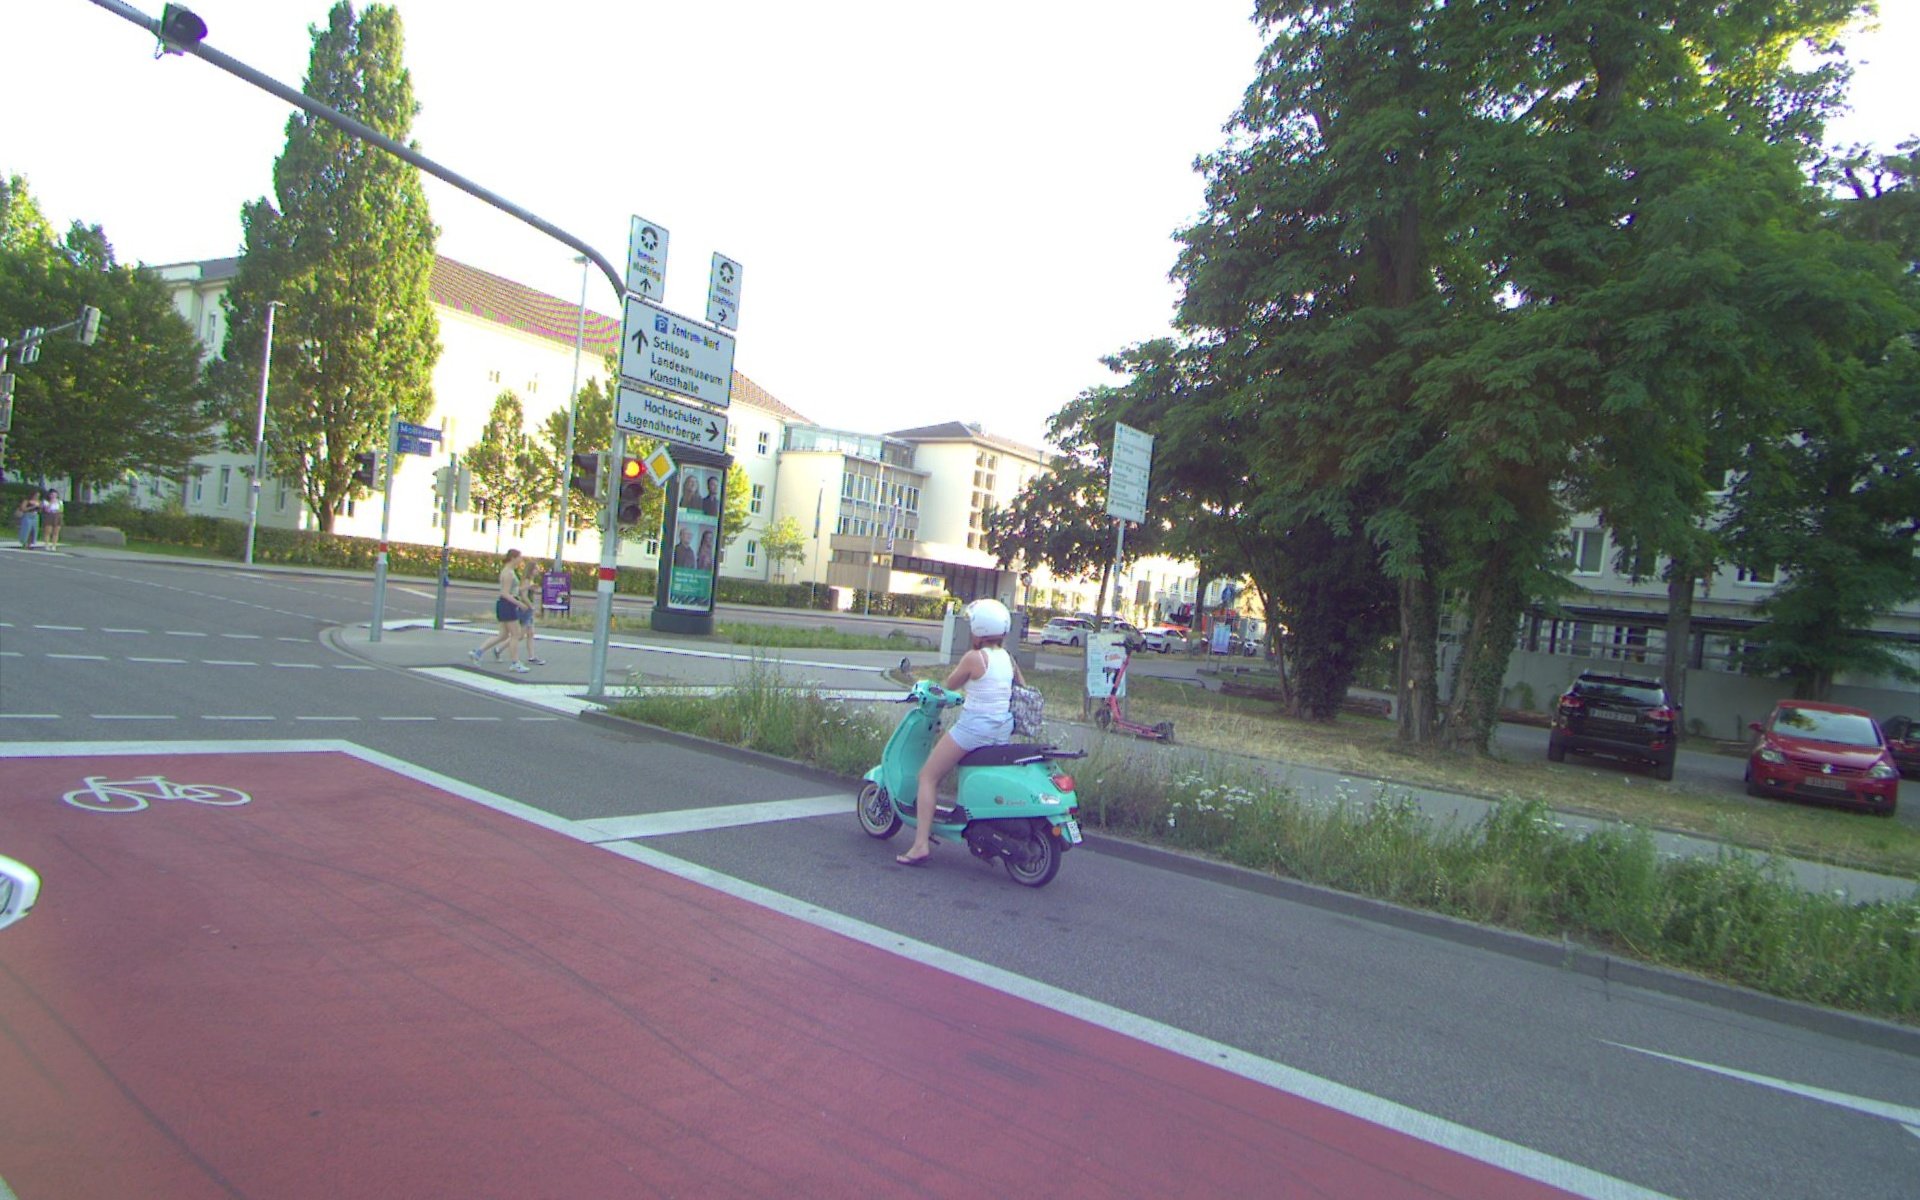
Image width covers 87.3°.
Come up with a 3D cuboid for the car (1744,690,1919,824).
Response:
[{"bbox_3d":[14.051,2.420,16.370,1.890,1.631,3.984,7,0,38],"label":"car"}]

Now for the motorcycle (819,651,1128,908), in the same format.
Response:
[{"bbox_3d":[0.032,1.066,6.490,1.866,1.212,0.681,7,0,40],"label":"motorcycle"}]

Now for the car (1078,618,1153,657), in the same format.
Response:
[{"bbox_3d":[7.958,1.920,51.240,1.970,1.632,3.985,7,0,37],"label":"car"}]

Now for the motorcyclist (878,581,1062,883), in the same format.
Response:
[{"bbox_3d":[0.068,0.814,6.487,0.680,1.758,0.737,7,1,40],"label":"motorcyclist"}]

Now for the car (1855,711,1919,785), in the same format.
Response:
[{"bbox_3d":[22.996,3.582,24.037,1.742,1.477,3.618,7,0,33],"label":"car"}]

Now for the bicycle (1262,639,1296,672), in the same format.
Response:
[{"bbox_3d":[13.517,2.343,42.638,0.563,1.256,1.891,7,0,40],"label":"bicycle"}]

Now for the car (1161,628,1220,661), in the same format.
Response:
[{"bbox_3d":[13.770,2.657,59.925,1.969,1.660,3.987,7,0,35],"label":"car"}]

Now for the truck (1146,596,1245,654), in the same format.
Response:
[{"bbox_3d":[15.923,1.773,67.361,2.599,3.179,10.243,6,0,35],"label":"truck"}]

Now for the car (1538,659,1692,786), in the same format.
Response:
[{"bbox_3d":[11.769,2.090,17.947,1.890,1.762,4.223,7,0,37],"label":"car"}]

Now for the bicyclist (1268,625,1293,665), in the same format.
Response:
[{"bbox_3d":[13.572,1.895,42.602,0.563,1.609,0.904,7,1,40],"label":"bicyclist"}]

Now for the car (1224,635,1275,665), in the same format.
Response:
[{"bbox_3d":[19.654,3.402,68.200,1.969,1.660,3.987,7,0,35],"label":"car"}]

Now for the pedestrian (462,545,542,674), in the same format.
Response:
[{"bbox_3d":[-6.354,0.132,13.948,0.769,1.681,0.714,5,1,-35],"label":"pedestrian"}]

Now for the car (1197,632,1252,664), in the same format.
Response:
[{"bbox_3d":[16.731,3.031,63.522,1.969,1.660,3.987,7,0,35],"label":"car"}]

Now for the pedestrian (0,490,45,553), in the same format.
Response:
[{"bbox_3d":[-26.552,-2.225,28.473,0.831,1.643,0.681,8,2,32],"label":"pedestrian"}]

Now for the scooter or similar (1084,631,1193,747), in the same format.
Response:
[{"bbox_3d":[2.258,1.106,12.755,1.159,1.288,0.440,7,1,31],"label":"scooter or similar"}]

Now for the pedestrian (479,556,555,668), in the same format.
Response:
[{"bbox_3d":[-6.563,0.177,14.900,0.781,1.542,0.730,5,1,-35],"label":"pedestrian"}]

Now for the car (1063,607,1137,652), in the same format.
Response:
[{"bbox_3d":[7.732,1.646,55.271,2.024,1.884,4.486,7,-2,35],"label":"car"}]

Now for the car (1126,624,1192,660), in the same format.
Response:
[{"bbox_3d":[10.965,2.312,55.198,1.969,1.660,3.987,7,0,35],"label":"car"}]

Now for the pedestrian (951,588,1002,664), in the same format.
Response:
[{"bbox_3d":[0.410,0.656,24.790,0.694,1.761,0.892,7,1,40],"label":"pedestrian"}]

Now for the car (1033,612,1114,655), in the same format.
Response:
[{"bbox_3d":[5.414,1.608,47.694,1.872,1.660,3.983,7,0,38],"label":"car"}]

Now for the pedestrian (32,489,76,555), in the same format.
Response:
[{"bbox_3d":[-26.188,-2.243,29.090,0.677,1.776,0.681,8,2,31],"label":"pedestrian"}]
